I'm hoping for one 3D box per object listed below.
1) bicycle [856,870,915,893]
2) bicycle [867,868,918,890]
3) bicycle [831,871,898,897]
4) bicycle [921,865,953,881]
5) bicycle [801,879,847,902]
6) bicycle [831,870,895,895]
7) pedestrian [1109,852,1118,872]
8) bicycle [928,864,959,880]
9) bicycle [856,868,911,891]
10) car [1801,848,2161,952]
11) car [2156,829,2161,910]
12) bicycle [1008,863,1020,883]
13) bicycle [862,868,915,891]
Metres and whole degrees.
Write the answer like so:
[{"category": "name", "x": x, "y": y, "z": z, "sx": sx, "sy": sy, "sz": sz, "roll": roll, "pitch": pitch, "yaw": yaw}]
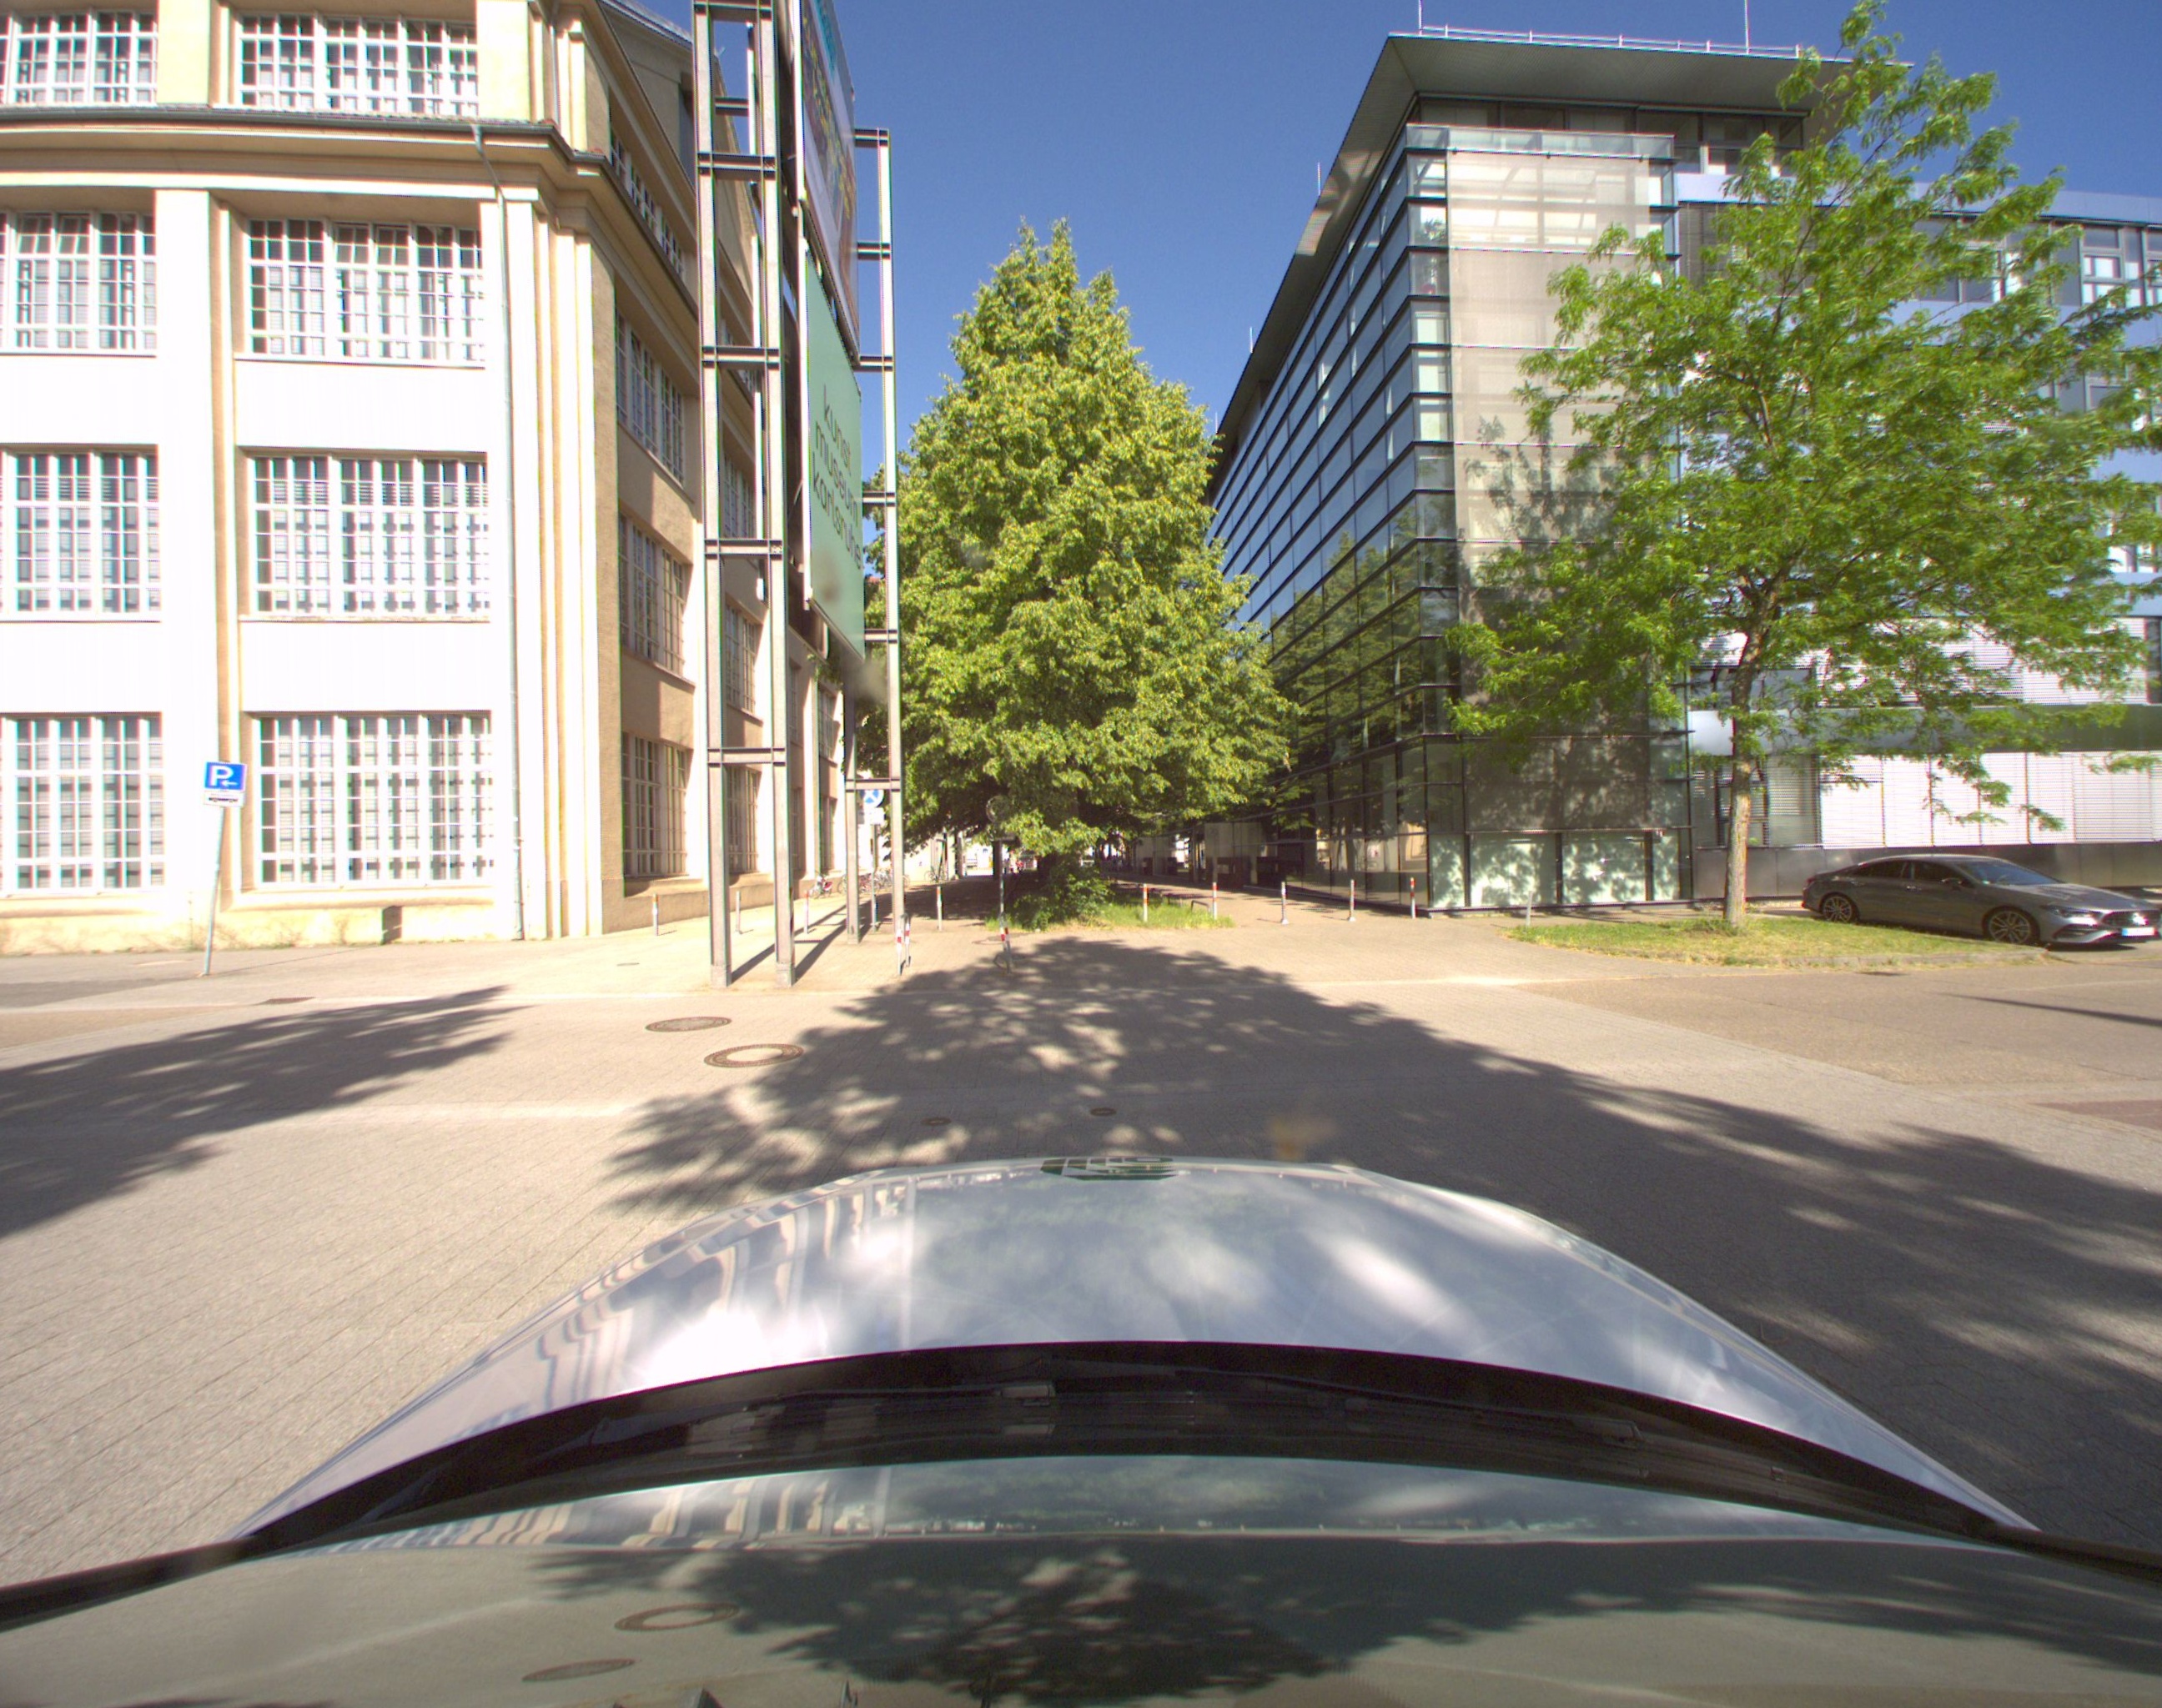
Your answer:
[{"category": "bicycle", "x": -9.862, "y": 1.374, "z": 41.154, "sx": 2.799, "sy": 1.063, "sz": 0.717, "roll": -1, "pitch": 0, "yaw": -8}, {"category": "bicycle", "x": -10.537, "y": 1.376, "z": 45.656, "sx": 2.730, "sy": 1.150, "sz": 0.717, "roll": -1, "pitch": 0, "yaw": -8}, {"category": "bicycle", "x": -9.682, "y": 1.321, "z": 36.517, "sx": 2.799, "sy": 1.063, "sz": 0.717, "roll": -1, "pitch": 0, "yaw": -8}, {"category": "bicycle", "x": -9.952, "y": 1.315, "z": 56.288, "sx": 2.052, "sy": 1.066, "sz": 0.506, "roll": -1, "pitch": 0, "yaw": -2}, {"category": "bicycle", "x": -10.632, "y": 1.483, "z": 33.813, "sx": 0.774, "sy": 0.792, "sz": 2.887, "roll": -1, "pitch": 0, "yaw": 4}, {"category": "bicycle", "x": -10.213, "y": 1.326, "z": 38.183, "sx": 2.795, "sy": 1.063, "sz": 0.718, "roll": -1, "pitch": 0, "yaw": -4}, {"category": "pedestrian", "x": 2.597, "y": 0.653, "z": 64.679, "sx": 0.714, "sy": 1.550, "sz": 0.691, "roll": -1, "pitch": 0, "yaw": 2}, {"category": "bicycle", "x": -9.622, "y": 1.285, "z": 57.000, "sx": 2.052, "sy": 1.066, "sz": 0.506, "roll": -1, "pitch": 0, "yaw": -2}, {"category": "bicycle", "x": -10.525, "y": 1.339, "z": 43.449, "sx": 2.799, "sy": 1.150, "sz": 0.717, "roll": -1, "pitch": 0, "yaw": -8}, {"category": "car", "x": 15.661, "y": 0.665, "z": 14.301, "sx": 1.882, "sy": 1.350, "sz": 4.544, "roll": -1, "pitch": 2, "yaw": -4}, {"category": "car", "x": 23.052, "y": 0.344, "z": 14.823, "sx": 1.882, "sy": 1.645, "sz": 3.839, "roll": -1, "pitch": 2, "yaw": -4}, {"category": "bicycle", "x": -4.215, "y": 1.165, "z": 51.033, "sx": 0.619, "sy": 1.197, "sz": 2.125, "roll": -1, "pitch": 0, "yaw": -8}, {"category": "bicycle", "x": -10.577, "y": 1.389, "z": 44.863, "sx": 2.730, "sy": 1.150, "sz": 0.717, "roll": -1, "pitch": 0, "yaw": -8}]
